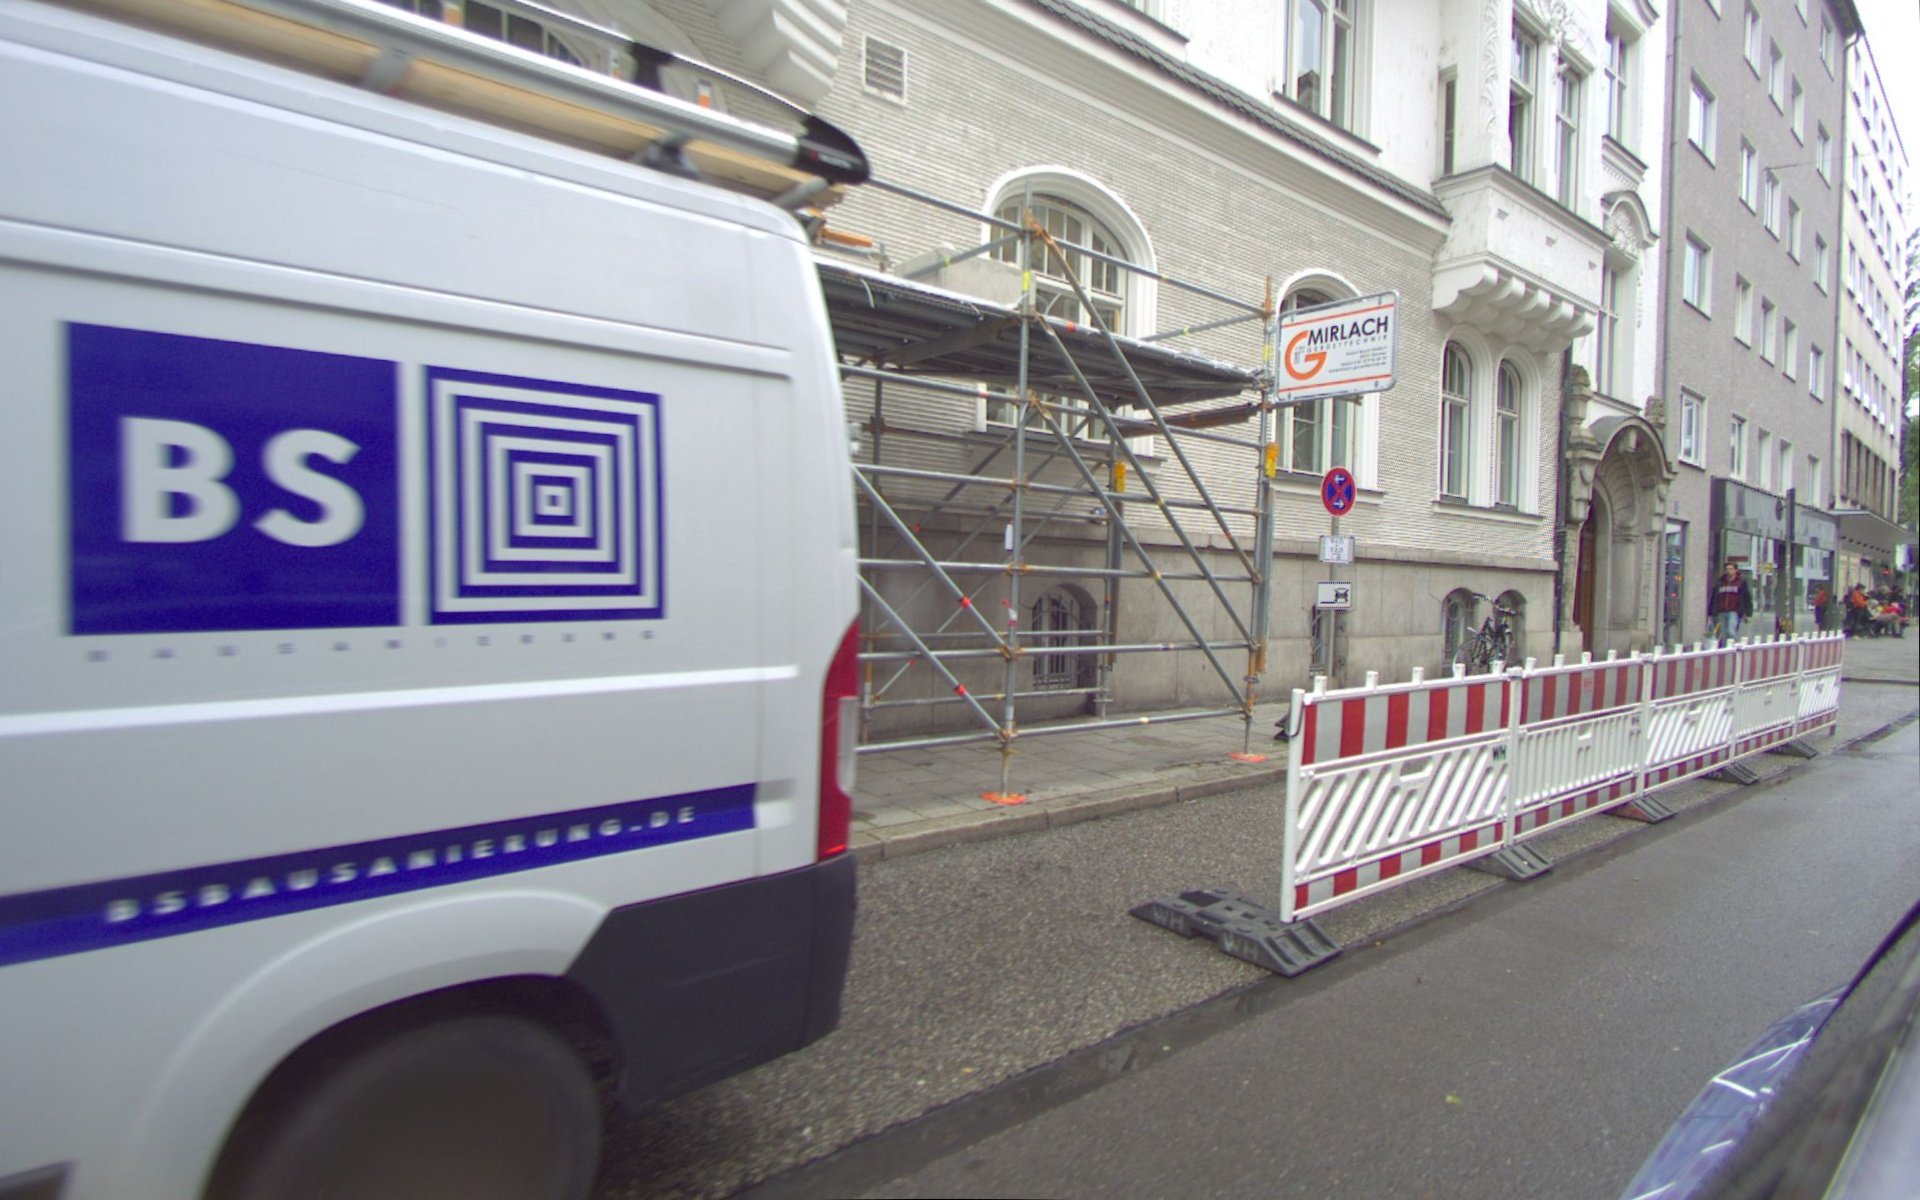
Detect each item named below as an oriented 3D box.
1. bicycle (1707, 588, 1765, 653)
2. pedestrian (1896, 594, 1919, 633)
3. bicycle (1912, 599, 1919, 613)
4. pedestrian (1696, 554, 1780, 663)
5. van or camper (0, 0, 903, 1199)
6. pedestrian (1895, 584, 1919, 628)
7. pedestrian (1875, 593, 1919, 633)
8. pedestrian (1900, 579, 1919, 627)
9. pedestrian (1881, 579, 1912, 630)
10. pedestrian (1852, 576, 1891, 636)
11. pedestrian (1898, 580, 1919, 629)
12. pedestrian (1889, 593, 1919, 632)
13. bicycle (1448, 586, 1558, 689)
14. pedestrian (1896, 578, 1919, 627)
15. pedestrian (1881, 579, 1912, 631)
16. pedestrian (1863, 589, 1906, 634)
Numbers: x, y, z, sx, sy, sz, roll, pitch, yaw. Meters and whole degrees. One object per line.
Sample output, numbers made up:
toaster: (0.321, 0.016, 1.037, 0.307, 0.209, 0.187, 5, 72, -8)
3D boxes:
bicycle: (16.209, 0.410, 21.128, 1.788, 1.274, 0.513, 0, 5, -41)
pedestrian: (31.610, 0.439, 33.585, 0.574, 1.252, 0.709, 0, 2, -40)
bicycle: (79.270, 0.504, 82.642, 2.114, 1.130, 0.729, 3, 2, 40)
pedestrian: (14.631, 0.134, 19.023, 1.158, 1.933, 0.929, 0, 3, -41)
van or camper: (-2.826, 0.054, 1.523, 5.362, 2.669, 1.958, 0, 2, -41)
pedestrian: (35.783, 0.217, 38.159, 0.684, 1.613, 0.659, 0, 2, -40)
pedestrian: (30.718, 0.411, 33.058, 0.656, 1.252, 1.099, 0, 2, -40)
pedestrian: (37.226, 0.117, 39.474, 0.757, 1.805, 0.659, 0, 2, -40)
pedestrian: (33.024, 0.157, 35.677, 0.764, 1.754, 0.659, 0, 2, -40)
pedestrian: (27.359, 0.167, 30.377, 0.733, 1.754, 0.704, 0, 2, -40)
pedestrian: (34.594, 0.169, 36.726, 0.684, 1.754, 0.659, 0, 2, -40)
pedestrian: (31.819, 0.415, 34.106, 0.487, 1.252, 0.681, 0, 2, -40)
bicycle: (7.228, 0.455, 13.434, 1.890, 1.220, 0.661, 0, 6, -45)
pedestrian: (36.634, 0.094, 39.004, 0.684, 1.845, 0.659, 0, 2, -40)
pedestrian: (32.077, 0.154, 34.673, 0.672, 1.754, 0.659, 0, 2, -40)
pedestrian: (29.338, 0.360, 32.110, 0.847, 1.369, 0.862, 0, 2, -40)
